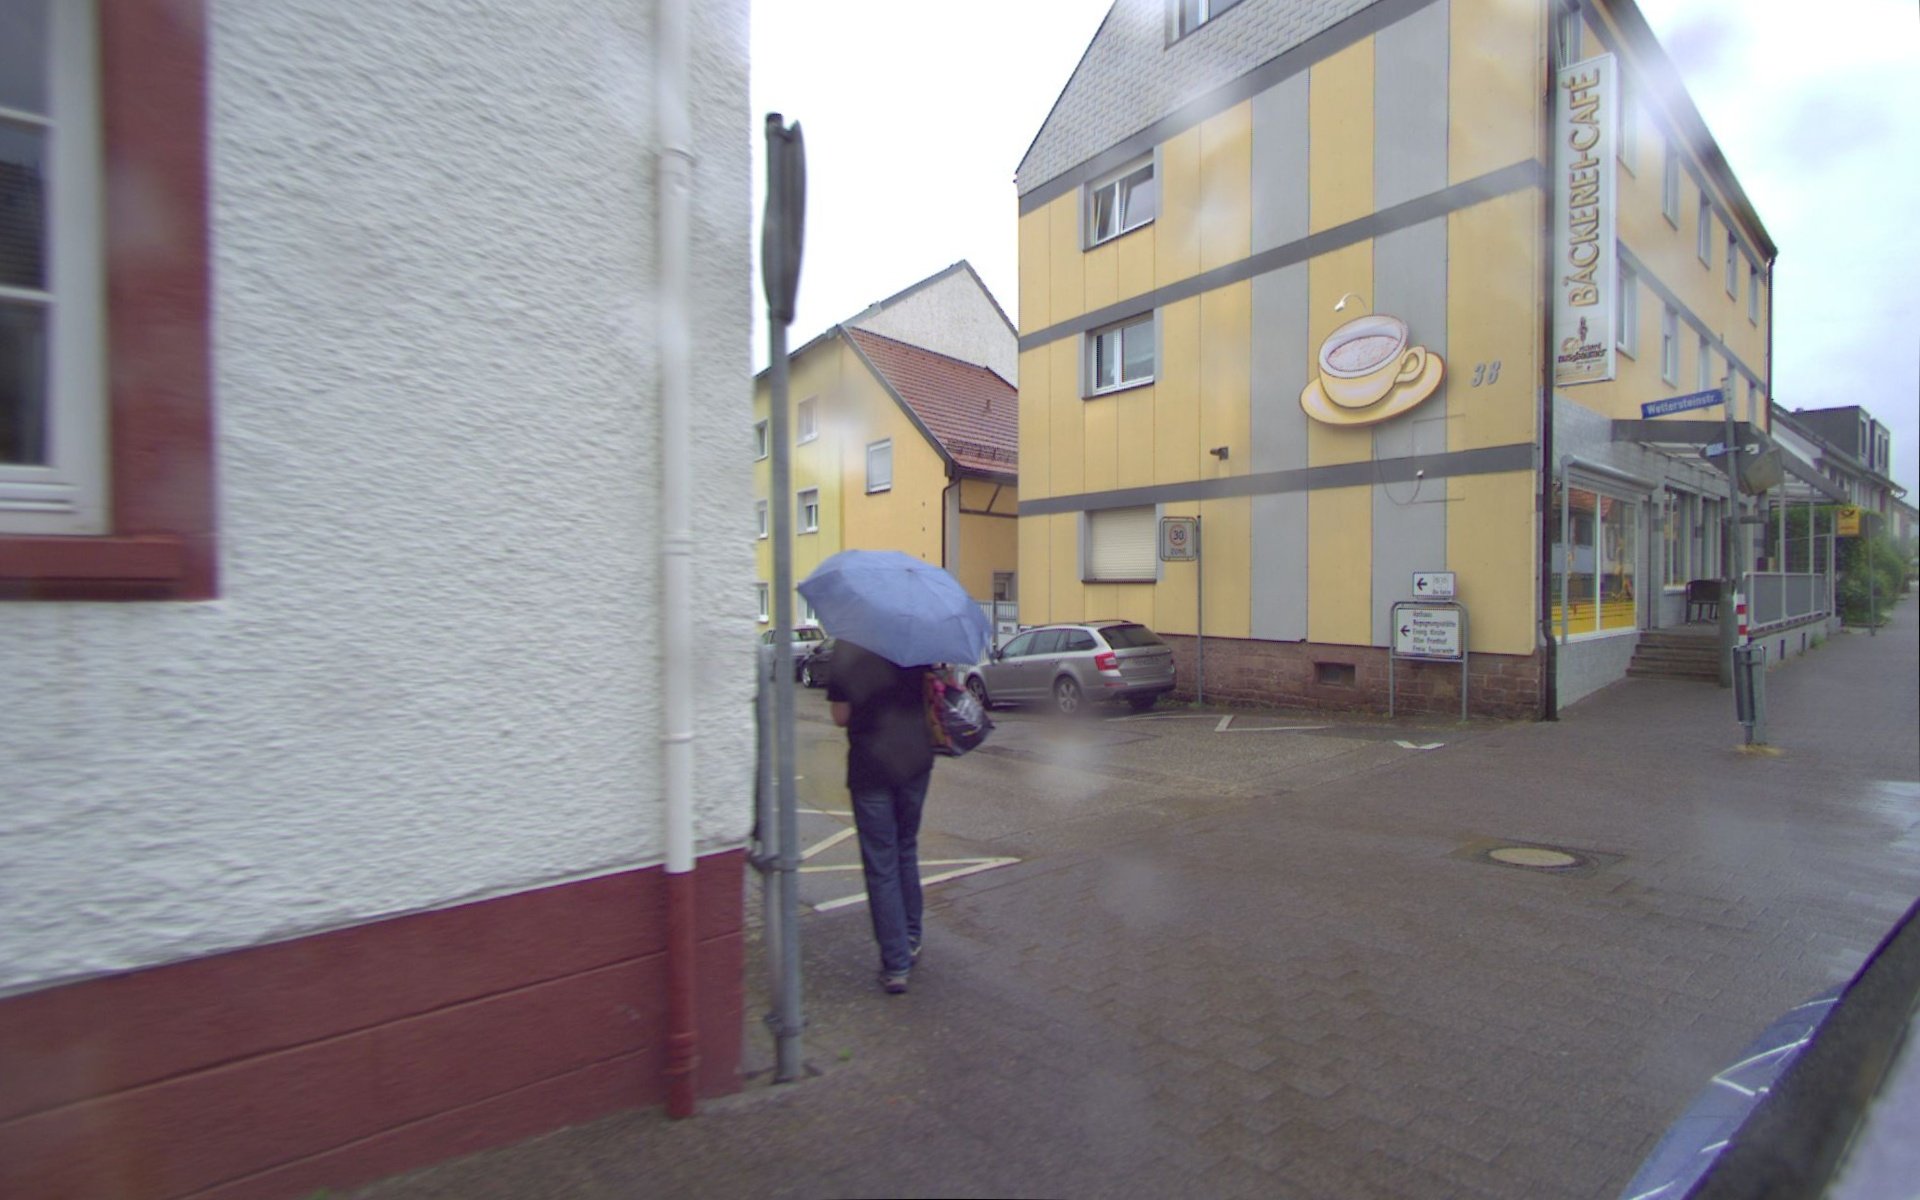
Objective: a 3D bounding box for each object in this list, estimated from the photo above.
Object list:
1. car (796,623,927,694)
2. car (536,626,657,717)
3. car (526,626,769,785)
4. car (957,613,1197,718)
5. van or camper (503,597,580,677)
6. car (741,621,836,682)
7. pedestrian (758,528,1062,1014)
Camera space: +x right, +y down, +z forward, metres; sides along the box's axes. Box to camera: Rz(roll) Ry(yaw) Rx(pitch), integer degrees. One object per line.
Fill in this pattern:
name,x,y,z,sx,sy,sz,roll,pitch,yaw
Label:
car,-2.544,1.389,25.206,1.816,1.478,4.024,-3,0,-27
car,-7.488,1.364,20.629,1.791,1.633,4.025,1,-2,-27
car,-3.724,1.041,11.586,1.630,1.391,3.963,-1,0,-33
car,1.825,1.070,17.160,1.741,1.479,4.198,-2,-2,-32
van or camper,-14.543,1.215,34.971,2.044,2.511,5.904,1,-1,-26
car,-5.078,1.450,29.557,1.632,1.535,3.876,-3,0,-26
pedestrian,-0.226,0.627,4.269,0.977,1.758,0.812,2,-1,-30
